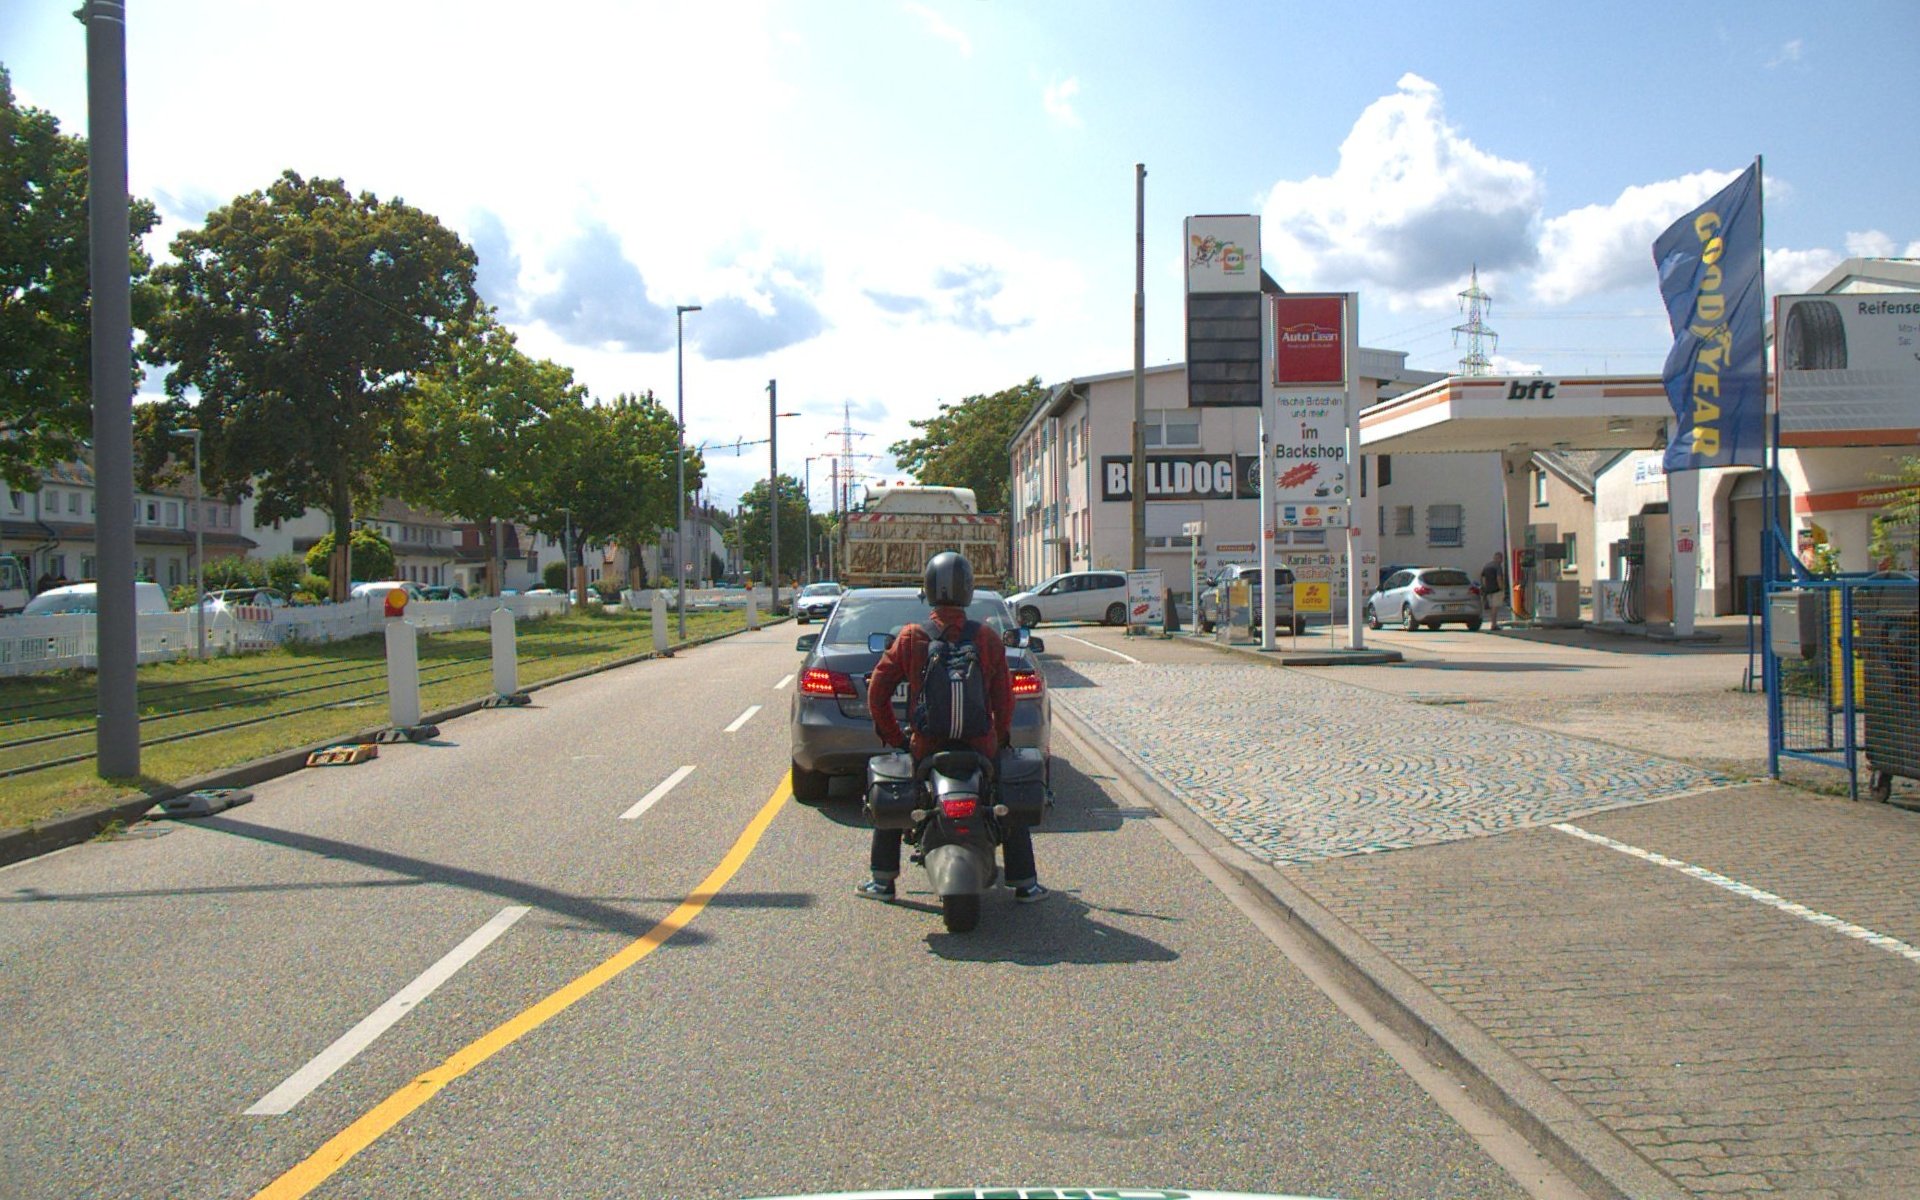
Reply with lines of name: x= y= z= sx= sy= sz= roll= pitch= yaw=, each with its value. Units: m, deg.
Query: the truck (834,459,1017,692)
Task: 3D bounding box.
truck: x=-0.575 y=-0.504 z=28.701 sx=2.557 sy=3.312 sz=9.181 roll=-2 pitch=2 yaw=-1

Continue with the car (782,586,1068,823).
car: x=-0.266 y=0.635 z=12.378 sx=1.785 sy=1.449 sz=3.999 roll=0 pitch=1 yaw=-2

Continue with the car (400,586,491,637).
car: x=-17.778 y=0.383 z=57.307 sx=1.953 sy=1.634 sz=3.999 roll=-2 pitch=0 yaw=-2

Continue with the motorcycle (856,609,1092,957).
motorcycle: x=0.022 y=0.740 z=7.912 sx=0.920 sy=1.343 sz=2.644 roll=1 pitch=0 yaw=-2

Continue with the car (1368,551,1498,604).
car: x=16.408 y=-0.779 z=57.508 sx=3.907 sy=1.677 sz=1.965 roll=-2 pitch=0 yaw=-2

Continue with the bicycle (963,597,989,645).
bicycle: x=0.477 y=0.616 z=50.216 sx=0.678 sy=1.385 sz=2.418 roll=-1 pitch=1 yaw=-1

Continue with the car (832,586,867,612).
car: x=-6.346 y=-0.073 z=95.550 sx=1.809 sy=1.411 sz=4.343 roll=-2 pitch=0 yaw=-2

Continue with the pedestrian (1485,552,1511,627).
pedestrian: x=12.501 y=-0.242 z=38.416 sx=0.388 sy=1.718 sz=0.485 roll=-2 pitch=0 yaw=0

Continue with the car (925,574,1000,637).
car: x=0.027 y=0.100 z=41.587 sx=1.785 sy=1.489 sz=3.999 roll=0 pitch=1 yaw=-1

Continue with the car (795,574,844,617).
car: x=-5.135 y=-0.188 z=60.915 sx=1.622 sy=1.472 sz=4.300 roll=-2 pitch=1 yaw=-3

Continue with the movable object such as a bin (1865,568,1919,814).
movable object such as a bin: x=6.339 y=0.527 z=10.010 sx=1.231 sy=1.469 sz=0.824 roll=-2 pitch=0 yaw=-1

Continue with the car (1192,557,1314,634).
car: x=6.913 y=-0.112 z=39.394 sx=1.920 sy=1.677 sz=3.997 roll=-2 pitch=0 yaw=-4

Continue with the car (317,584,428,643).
car: x=-17.568 y=0.394 z=49.666 sx=1.953 sy=1.634 sz=3.999 roll=-2 pitch=0 yaw=-2

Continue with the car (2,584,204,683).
car: x=-16.900 y=0.622 z=32.861 sx=1.953 sy=1.780 sz=3.999 roll=-2 pitch=0 yaw=-2

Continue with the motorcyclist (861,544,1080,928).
motorcyclist: x=0.032 y=0.585 z=7.730 sx=0.920 sy=1.643 sz=1.204 roll=1 pitch=0 yaw=-2

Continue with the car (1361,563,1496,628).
car: x=11.315 y=-0.103 z=40.247 sx=1.920 sy=1.445 sz=3.997 roll=-2 pitch=0 yaw=-4

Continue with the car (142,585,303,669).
car: x=-16.985 y=0.586 z=38.306 sx=1.953 sy=1.780 sz=3.999 roll=-2 pitch=0 yaw=-2

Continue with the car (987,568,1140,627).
car: x=3.110 y=-0.077 z=49.951 sx=4.251 sy=1.578 sz=1.945 roll=-2 pitch=0 yaw=-10

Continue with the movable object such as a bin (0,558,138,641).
movable object such as a bin: x=-28.426 y=-0.032 z=52.205 sx=4.278 sy=2.492 sz=1.776 roll=-2 pitch=1 yaw=-24

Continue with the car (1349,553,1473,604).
car: x=16.336 y=-0.774 z=60.052 sx=3.907 sy=1.677 sz=1.965 roll=-2 pitch=0 yaw=-2

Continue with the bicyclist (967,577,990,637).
bicyclist: x=0.557 y=0.202 z=50.074 sx=0.658 sy=1.774 sz=0.813 roll=-1 pitch=0 yaw=-2
